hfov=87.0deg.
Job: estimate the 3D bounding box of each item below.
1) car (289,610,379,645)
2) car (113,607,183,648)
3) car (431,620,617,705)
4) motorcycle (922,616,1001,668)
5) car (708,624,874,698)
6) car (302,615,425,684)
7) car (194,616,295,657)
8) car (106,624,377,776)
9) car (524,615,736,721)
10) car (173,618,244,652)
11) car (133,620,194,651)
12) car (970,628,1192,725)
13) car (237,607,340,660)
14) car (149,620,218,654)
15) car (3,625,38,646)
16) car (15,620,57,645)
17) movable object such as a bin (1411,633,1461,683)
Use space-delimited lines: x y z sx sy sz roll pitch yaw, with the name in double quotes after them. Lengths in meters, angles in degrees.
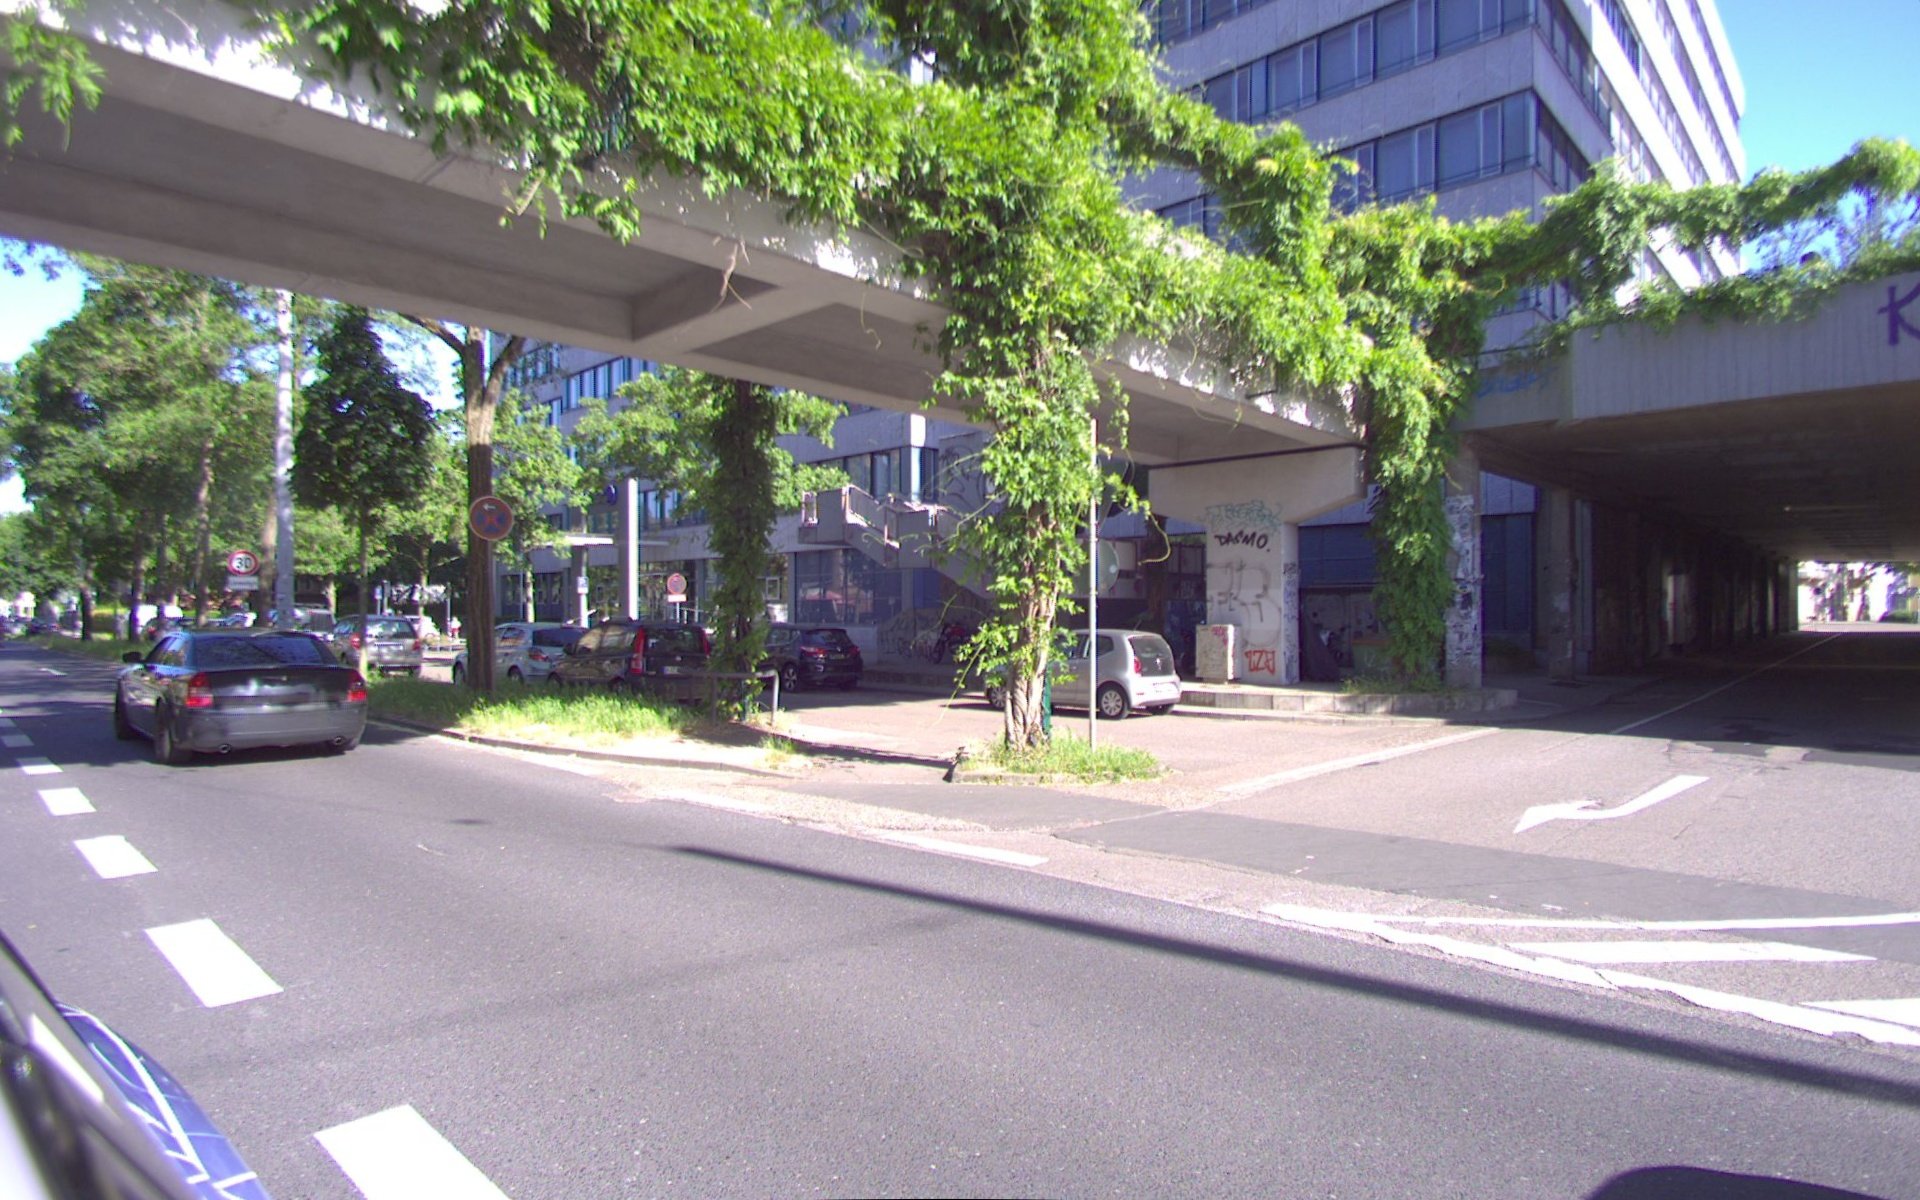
-34.485 1.478 55.812 3.939 1.726 1.707 -3 2 -42 "car"
-40.545 1.337 50.497 4.525 1.923 2.043 -1 -1 42 "car"
-8.560 1.175 19.717 4.281 1.459 1.635 -1 -5 42 "car"
0.018 1.047 25.697 2.053 1.280 0.721 -1 -1 43 "motorcycle"
-3.967 1.339 23.406 4.000 1.541 1.713 -1 -2 43 "car"
-15.659 1.229 26.484 4.084 1.659 1.753 -1 -1 44 "car"
-25.616 1.270 36.159 4.485 1.394 1.700 -1 -1 37 "car"
-8.781 1.033 12.200 4.594 1.469 1.845 -1 -2 44 "car"
-5.546 1.058 16.786 3.780 1.550 1.721 -1 -4 44 "car"
-29.236 1.313 39.326 3.848 1.236 1.633 -1 -1 44 "car"
-36.796 1.627 46.706 4.189 1.343 1.657 -1 -1 44 "car"
2.057 1.247 17.771 3.648 1.497 1.588 -1 -2 43 "car"
-21.131 1.016 31.781 4.449 1.561 1.711 -1 -1 43 "car"
-33.015 1.556 43.010 3.968 1.354 1.635 -1 -1 42 "car"
-66.016 2.462 71.079 4.001 1.425 1.584 -1 -1 44 "car"
-57.898 2.026 63.390 4.001 1.501 1.717 -1 -1 44 "car"
9.045 1.091 19.224 0.719 0.912 0.632 -1 -1 42 "movable object such as a bin"
